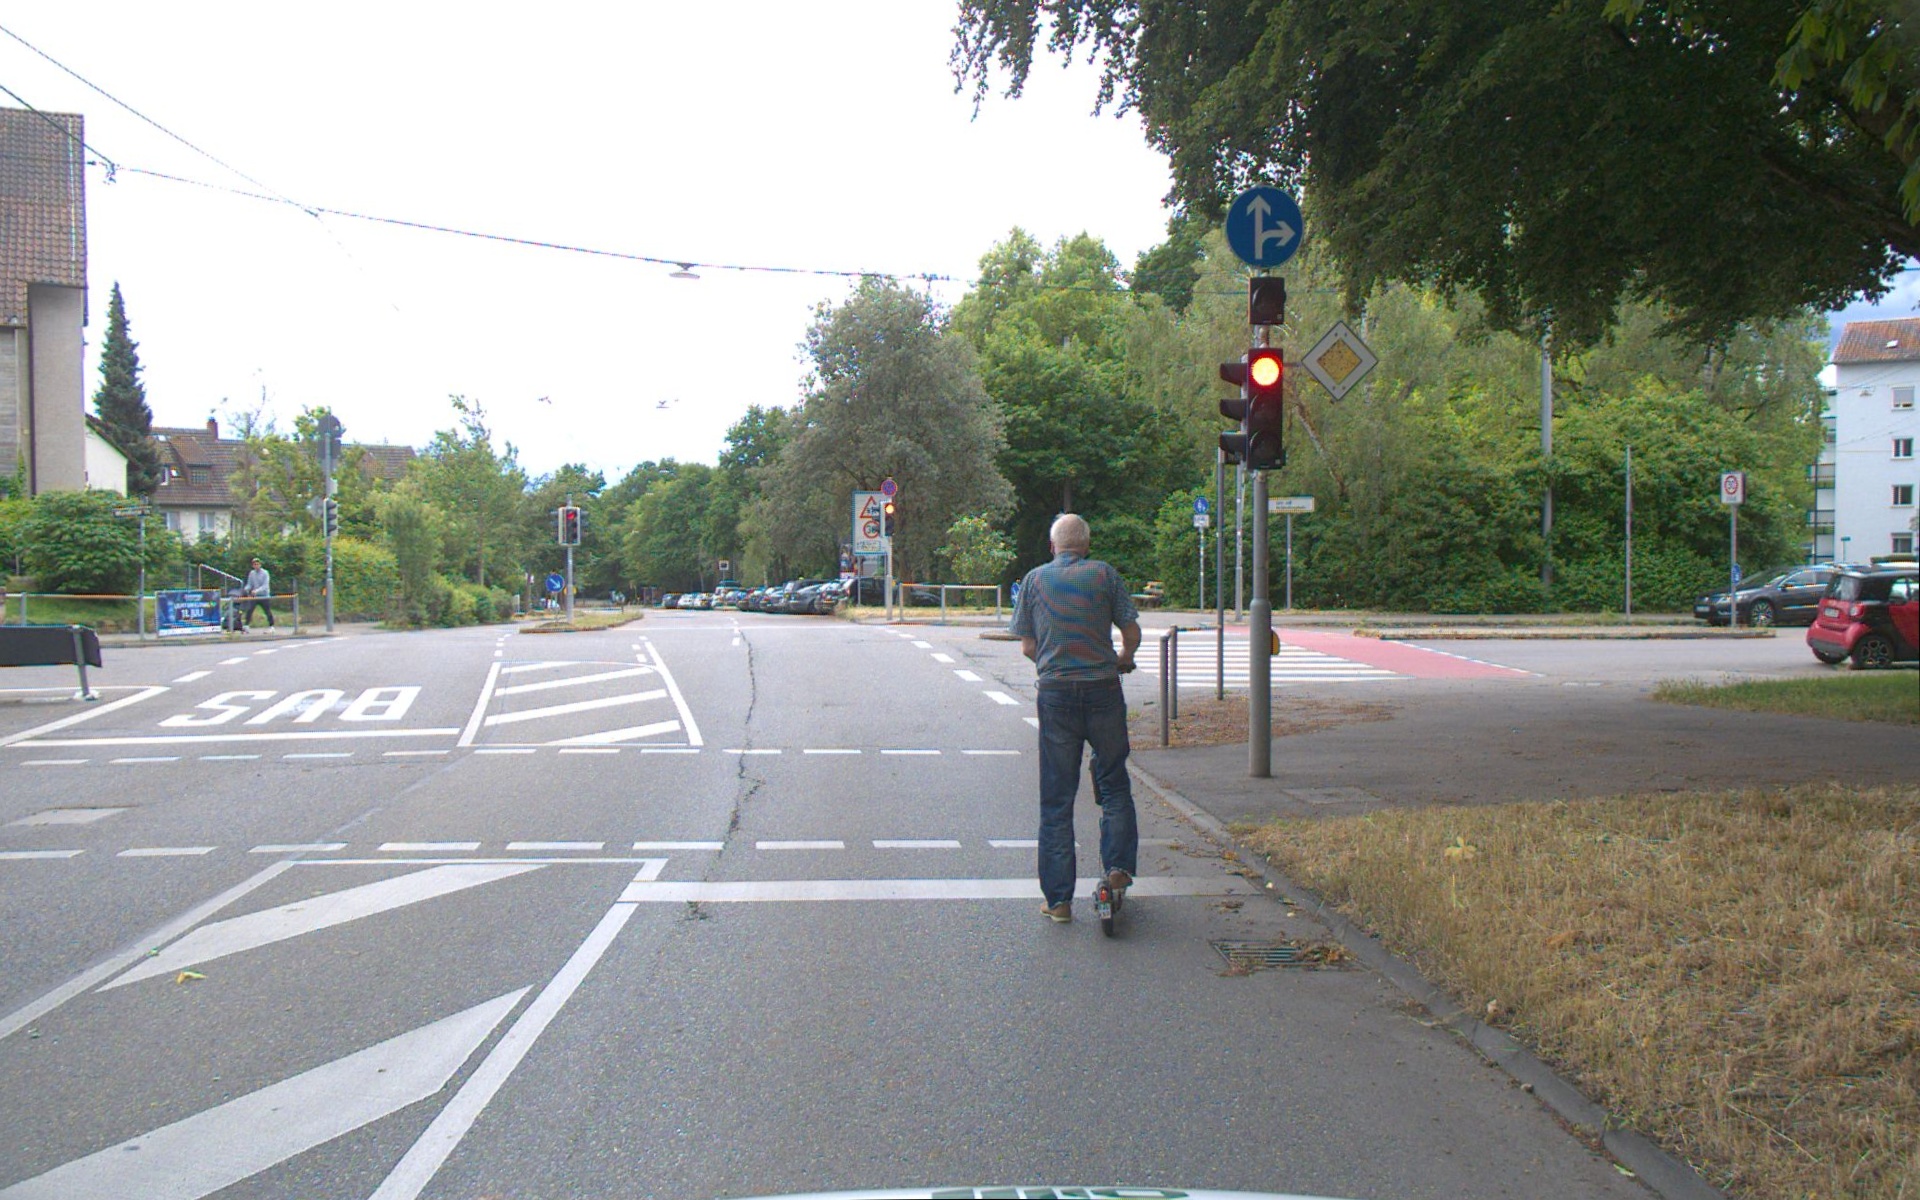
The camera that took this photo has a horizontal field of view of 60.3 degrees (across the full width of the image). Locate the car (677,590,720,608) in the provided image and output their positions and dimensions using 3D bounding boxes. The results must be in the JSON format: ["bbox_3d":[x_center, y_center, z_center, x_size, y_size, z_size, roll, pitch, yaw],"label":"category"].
[{"bbox_3d":[-25.059,-0.095,158.391,3.790,1.639,1.716,-2,1,-24],"label":"car"}]

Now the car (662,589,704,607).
[{"bbox_3d":[-27.699,-0.174,165.417,3.790,1.639,1.716,-2,1,-24],"label":"car"}]

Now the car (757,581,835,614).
[{"bbox_3d":[-8.809,-0.146,88.928,3.790,1.639,1.716,-2,1,-24],"label":"car"}]

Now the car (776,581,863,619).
[{"bbox_3d":[-6.730,-0.015,79.198,3.790,1.639,1.716,-2,1,-24],"label":"car"}]

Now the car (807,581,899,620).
[{"bbox_3d":[-4.851,0.011,74.715,3.787,1.639,1.717,-2,1,-22],"label":"car"}]

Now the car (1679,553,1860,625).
[{"bbox_3d":[19.148,-0.264,39.239,3.444,1.557,1.729,-2,1,5],"label":"car"}]

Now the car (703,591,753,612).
[{"bbox_3d":[-19.465,0.114,138.793,3.790,1.639,1.716,-2,1,-24],"label":"car"}]

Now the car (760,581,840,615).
[{"bbox_3d":[-8.370,-0.132,86.522,3.790,1.639,1.716,-2,1,-24],"label":"car"}]

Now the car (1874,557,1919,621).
[{"bbox_3d":[26.399,-0.338,45.820,1.689,1.639,3.850,-1,1,27],"label":"car"}]

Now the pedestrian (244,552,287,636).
[{"bbox_3d":[-16.045,-0.143,38.245,0.560,1.895,0.887,-1,0,3],"label":"pedestrian"}]

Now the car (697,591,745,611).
[{"bbox_3d":[-20.560,0.082,142.451,3.790,1.639,1.716,-2,1,-24],"label":"car"}]

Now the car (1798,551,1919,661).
[{"bbox_3d":[15.251,0.046,25.837,3.444,1.639,1.729,-2,1,4],"label":"car"}]

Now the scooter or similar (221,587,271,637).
[{"bbox_3d":[-16.087,0.255,37.280,0.563,1.100,1.112,-1,1,5],"label":"scooter or similar"}]

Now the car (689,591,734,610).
[{"bbox_3d":[-23.068,0.005,153.718,3.790,1.639,1.716,-2,1,-24],"label":"car"}]

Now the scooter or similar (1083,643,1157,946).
[{"bbox_3d":[0.728,0.817,7.394,0.276,1.199,1.178,-1,1,7],"label":"scooter or similar"}]

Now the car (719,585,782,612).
[{"bbox_3d":[-13.787,-0.091,108.715,3.790,1.639,1.716,-2,1,-24],"label":"car"}]

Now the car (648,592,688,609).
[{"bbox_3d":[-30.932,0.007,175.161,3.790,1.639,1.716,-2,1,-24],"label":"car"}]

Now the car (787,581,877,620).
[{"bbox_3d":[-5.936,0.004,76.669,3.792,1.639,1.715,-2,1,-25],"label":"car"}]

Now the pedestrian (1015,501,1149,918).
[{"bbox_3d":[0.566,0.486,7.567,0.560,1.845,0.421,-1,0,7],"label":"pedestrian"}]

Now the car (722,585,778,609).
[{"bbox_3d":[-15.444,-0.229,121.658,3.790,1.639,1.716,-2,1,-24],"label":"car"}]

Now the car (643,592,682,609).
[{"bbox_3d":[-31.941,0.066,177.483,3.790,1.639,1.716,-2,1,-24],"label":"car"}]

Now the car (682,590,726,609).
[{"bbox_3d":[-24.128,-0.067,155.835,3.790,1.639,1.716,-2,1,-24],"label":"car"}]
